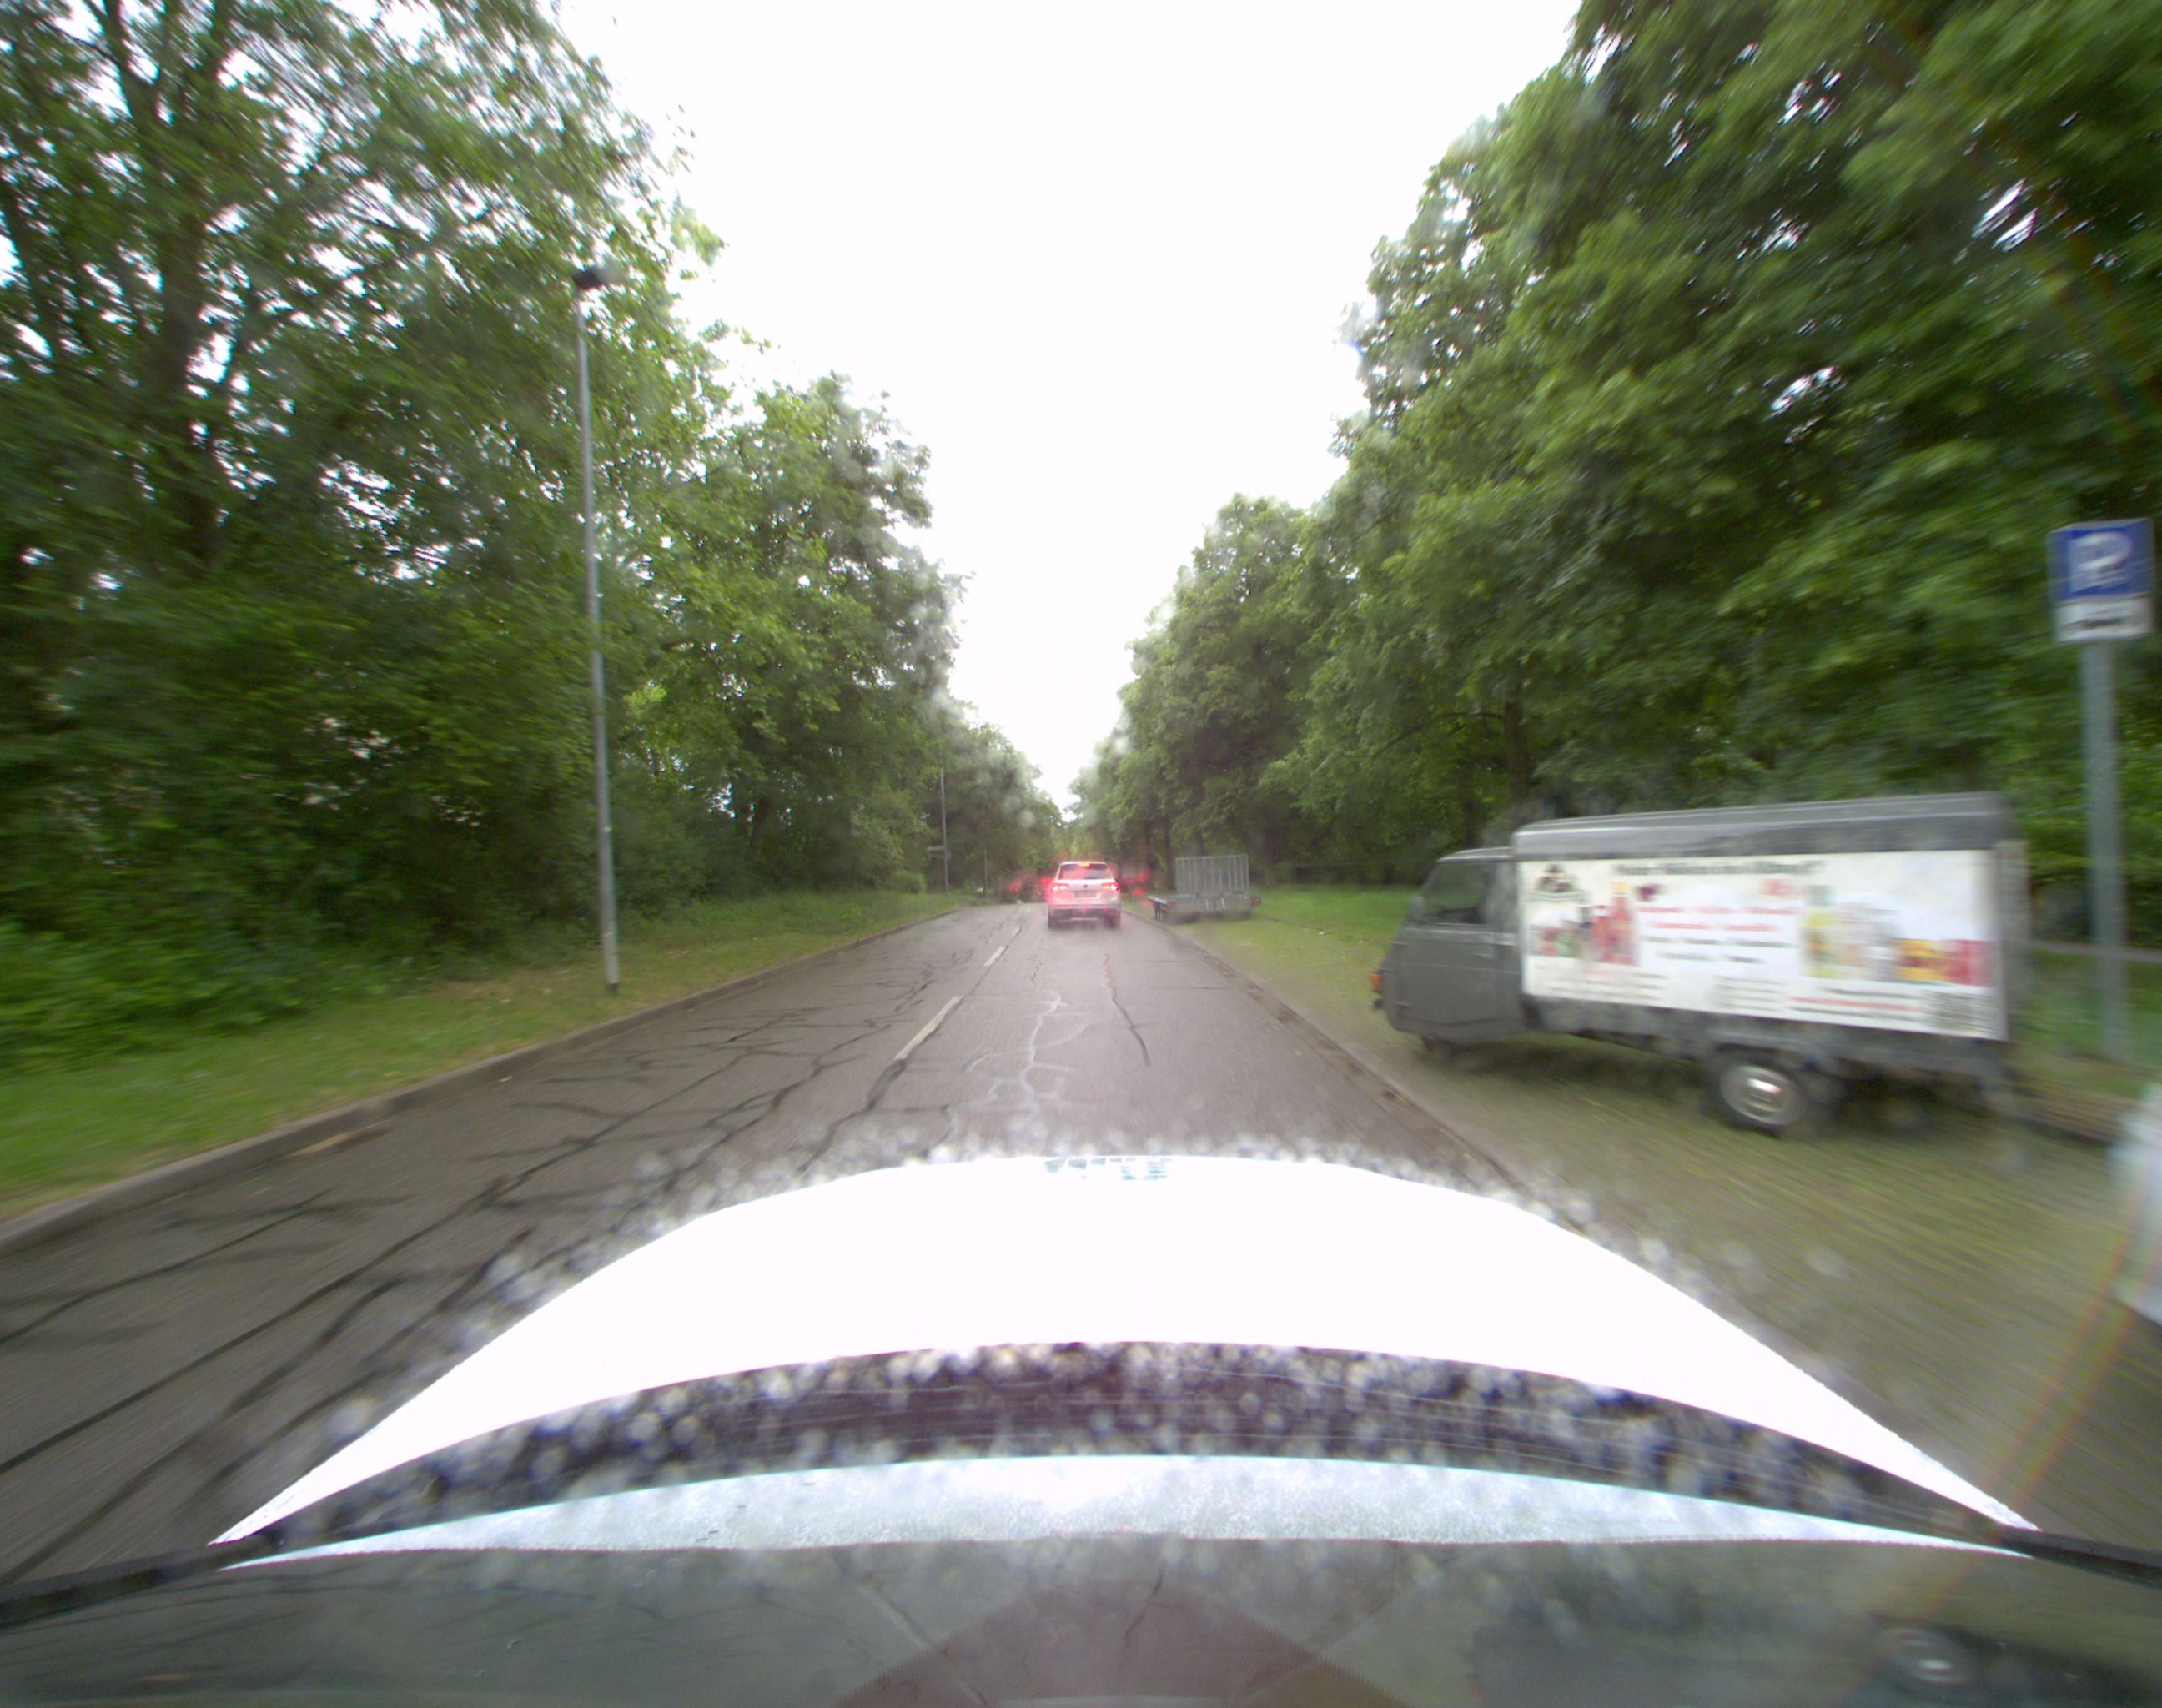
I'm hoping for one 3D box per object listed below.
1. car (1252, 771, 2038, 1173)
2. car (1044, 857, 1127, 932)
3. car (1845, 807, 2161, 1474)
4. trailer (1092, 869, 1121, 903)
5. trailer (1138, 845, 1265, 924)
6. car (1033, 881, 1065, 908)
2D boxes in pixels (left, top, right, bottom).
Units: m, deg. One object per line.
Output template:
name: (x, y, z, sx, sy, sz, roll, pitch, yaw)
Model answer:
car: (3.284, 0.575, 5.459, 1.620, 1.681, 3.960, -2, -2, -40)
car: (0.089, 1.000, 21.589, 1.900, 1.685, 4.198, -3, -1, -1)
car: (3.285, 0.605, 0.240, 1.985, 1.497, 4.571, -3, 0, 4)
trailer: (1.676, 2.173, 54.692, 1.526, 2.076, 3.994, -3, -3, -3)
trailer: (3.164, 0.853, 22.943, 2.443, 1.813, 5.886, -3, -2, -2)
car: (-2.771, 3.526, 71.671, 1.982, 2.013, 4.011, -2, 1, 9)
